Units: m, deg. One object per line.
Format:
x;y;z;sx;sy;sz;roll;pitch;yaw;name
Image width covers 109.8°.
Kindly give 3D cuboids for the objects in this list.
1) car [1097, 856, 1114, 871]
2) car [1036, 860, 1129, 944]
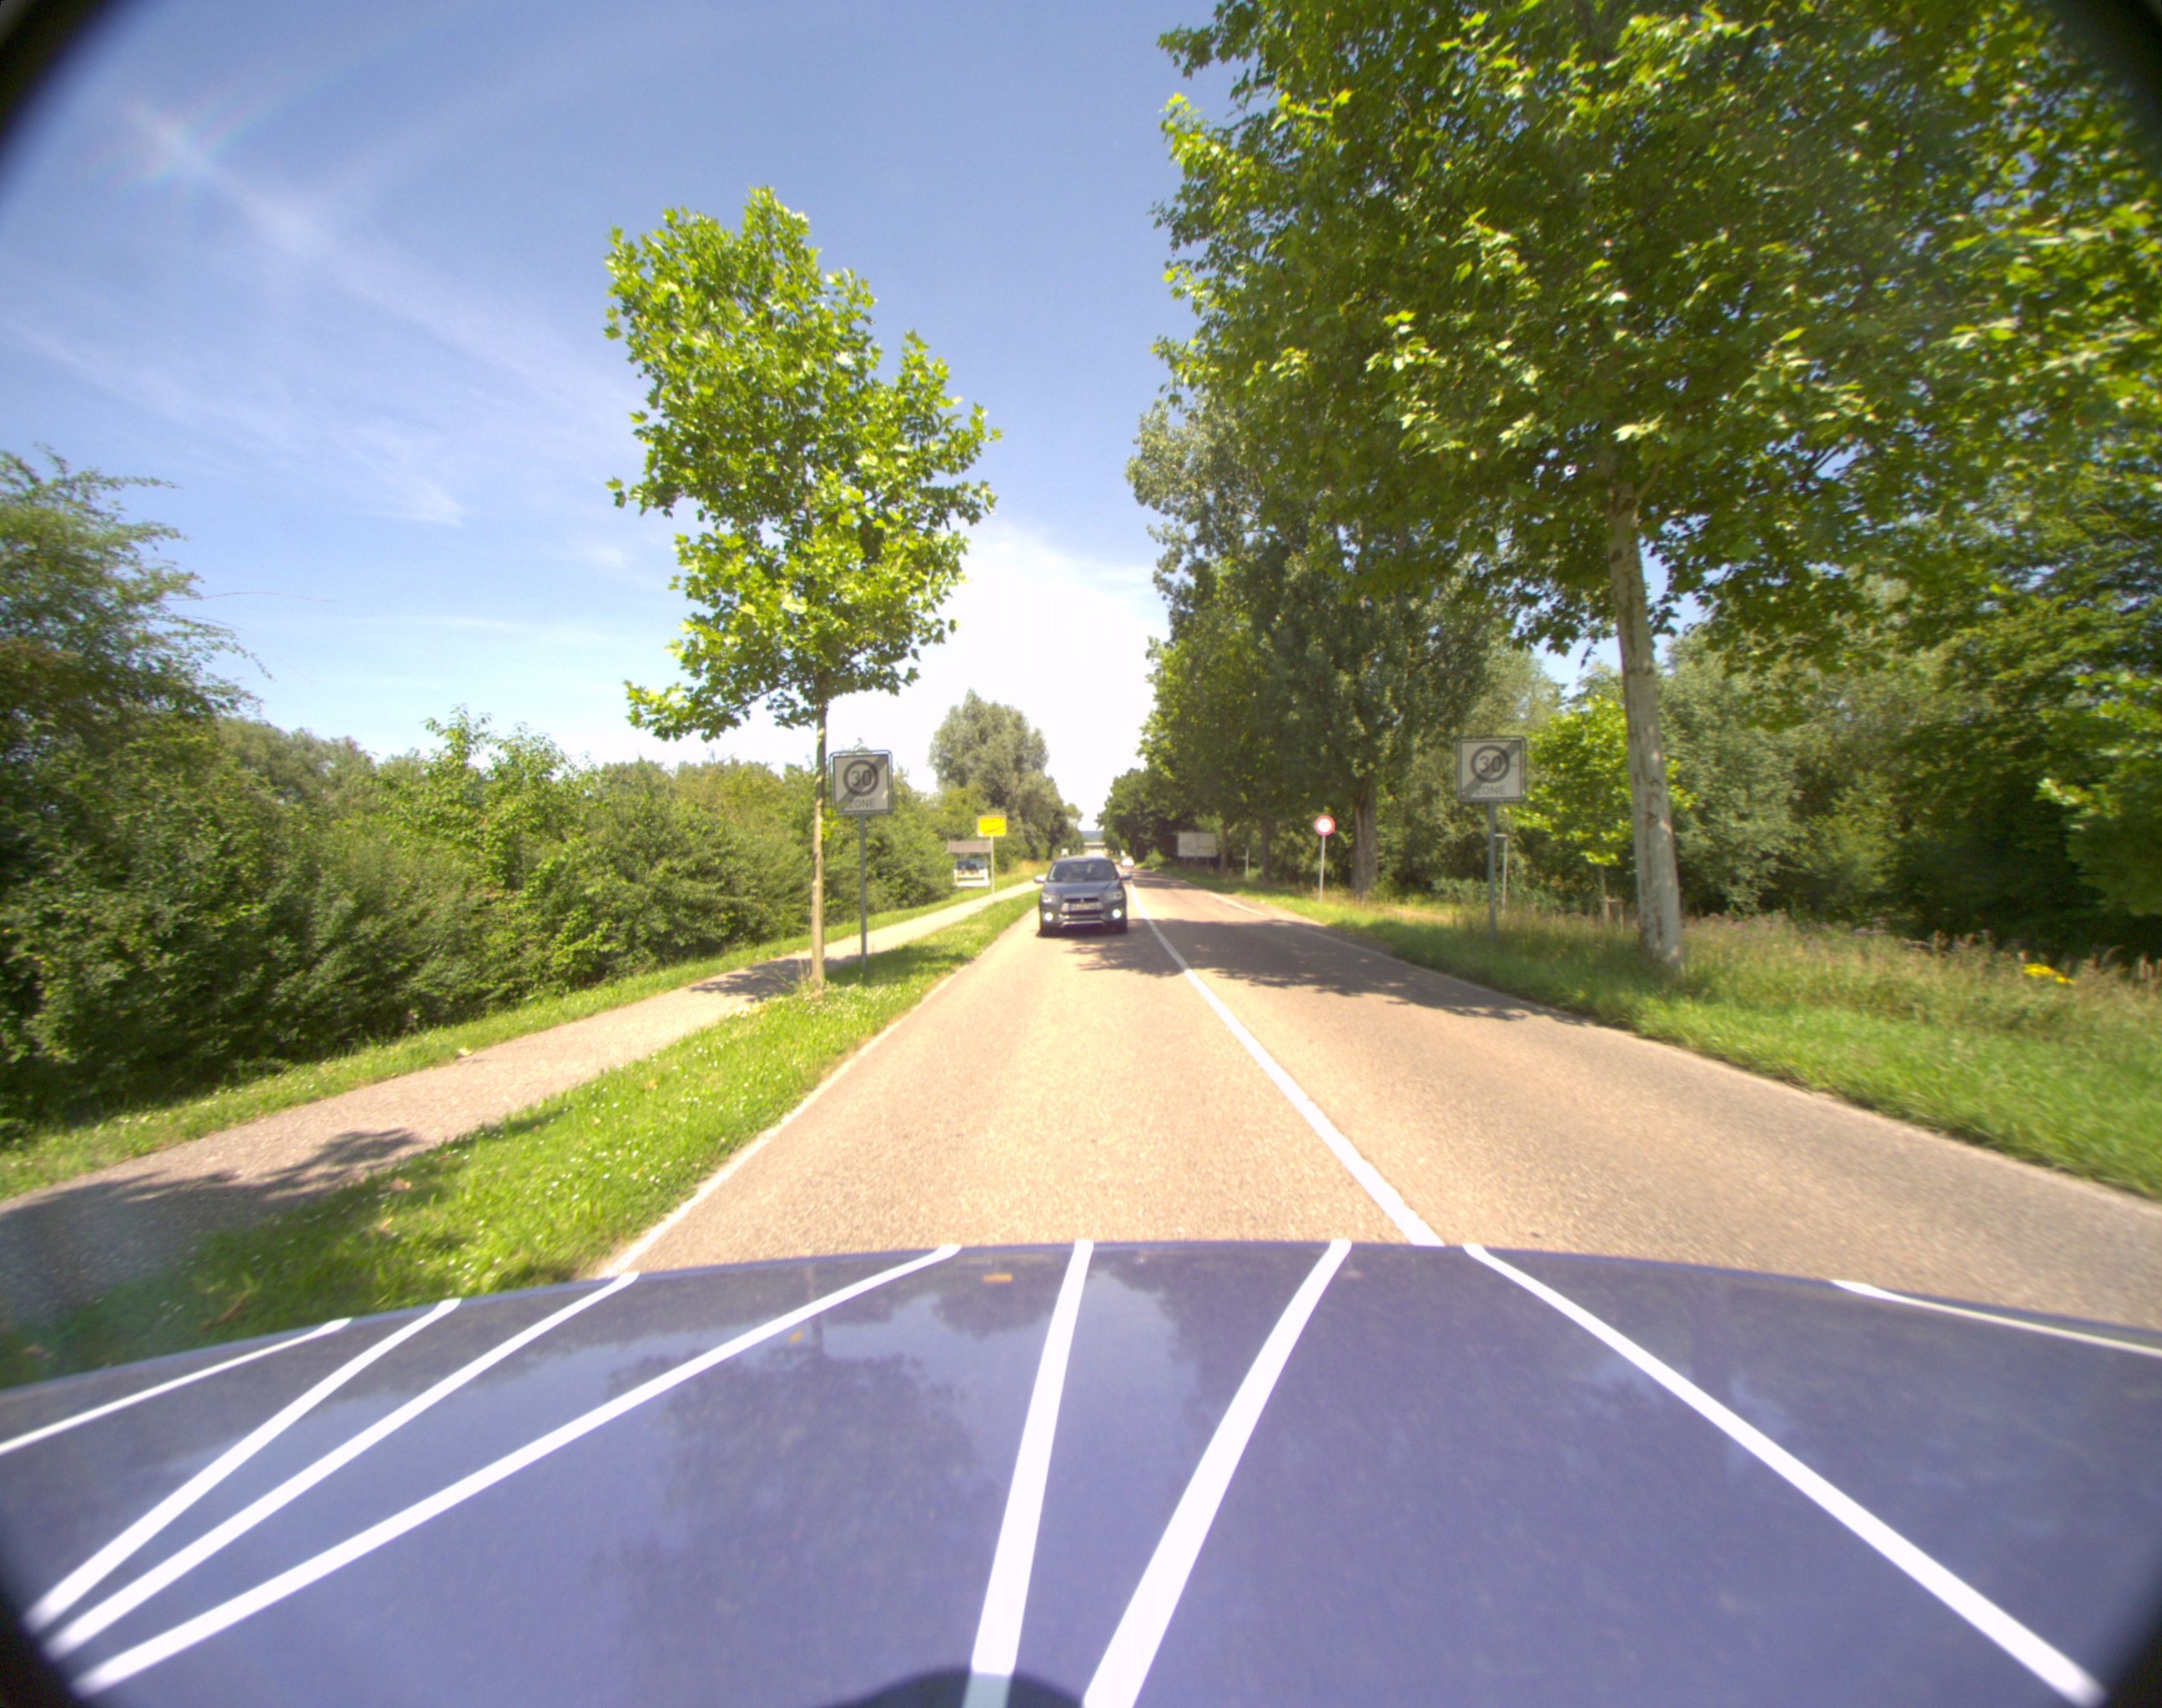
2.207;0.813;68.709;1.429;1.270;3.160;-1;0;1;car
0.051;0.941;16.844;1.750;1.525;4.524;-1;1;1;car
